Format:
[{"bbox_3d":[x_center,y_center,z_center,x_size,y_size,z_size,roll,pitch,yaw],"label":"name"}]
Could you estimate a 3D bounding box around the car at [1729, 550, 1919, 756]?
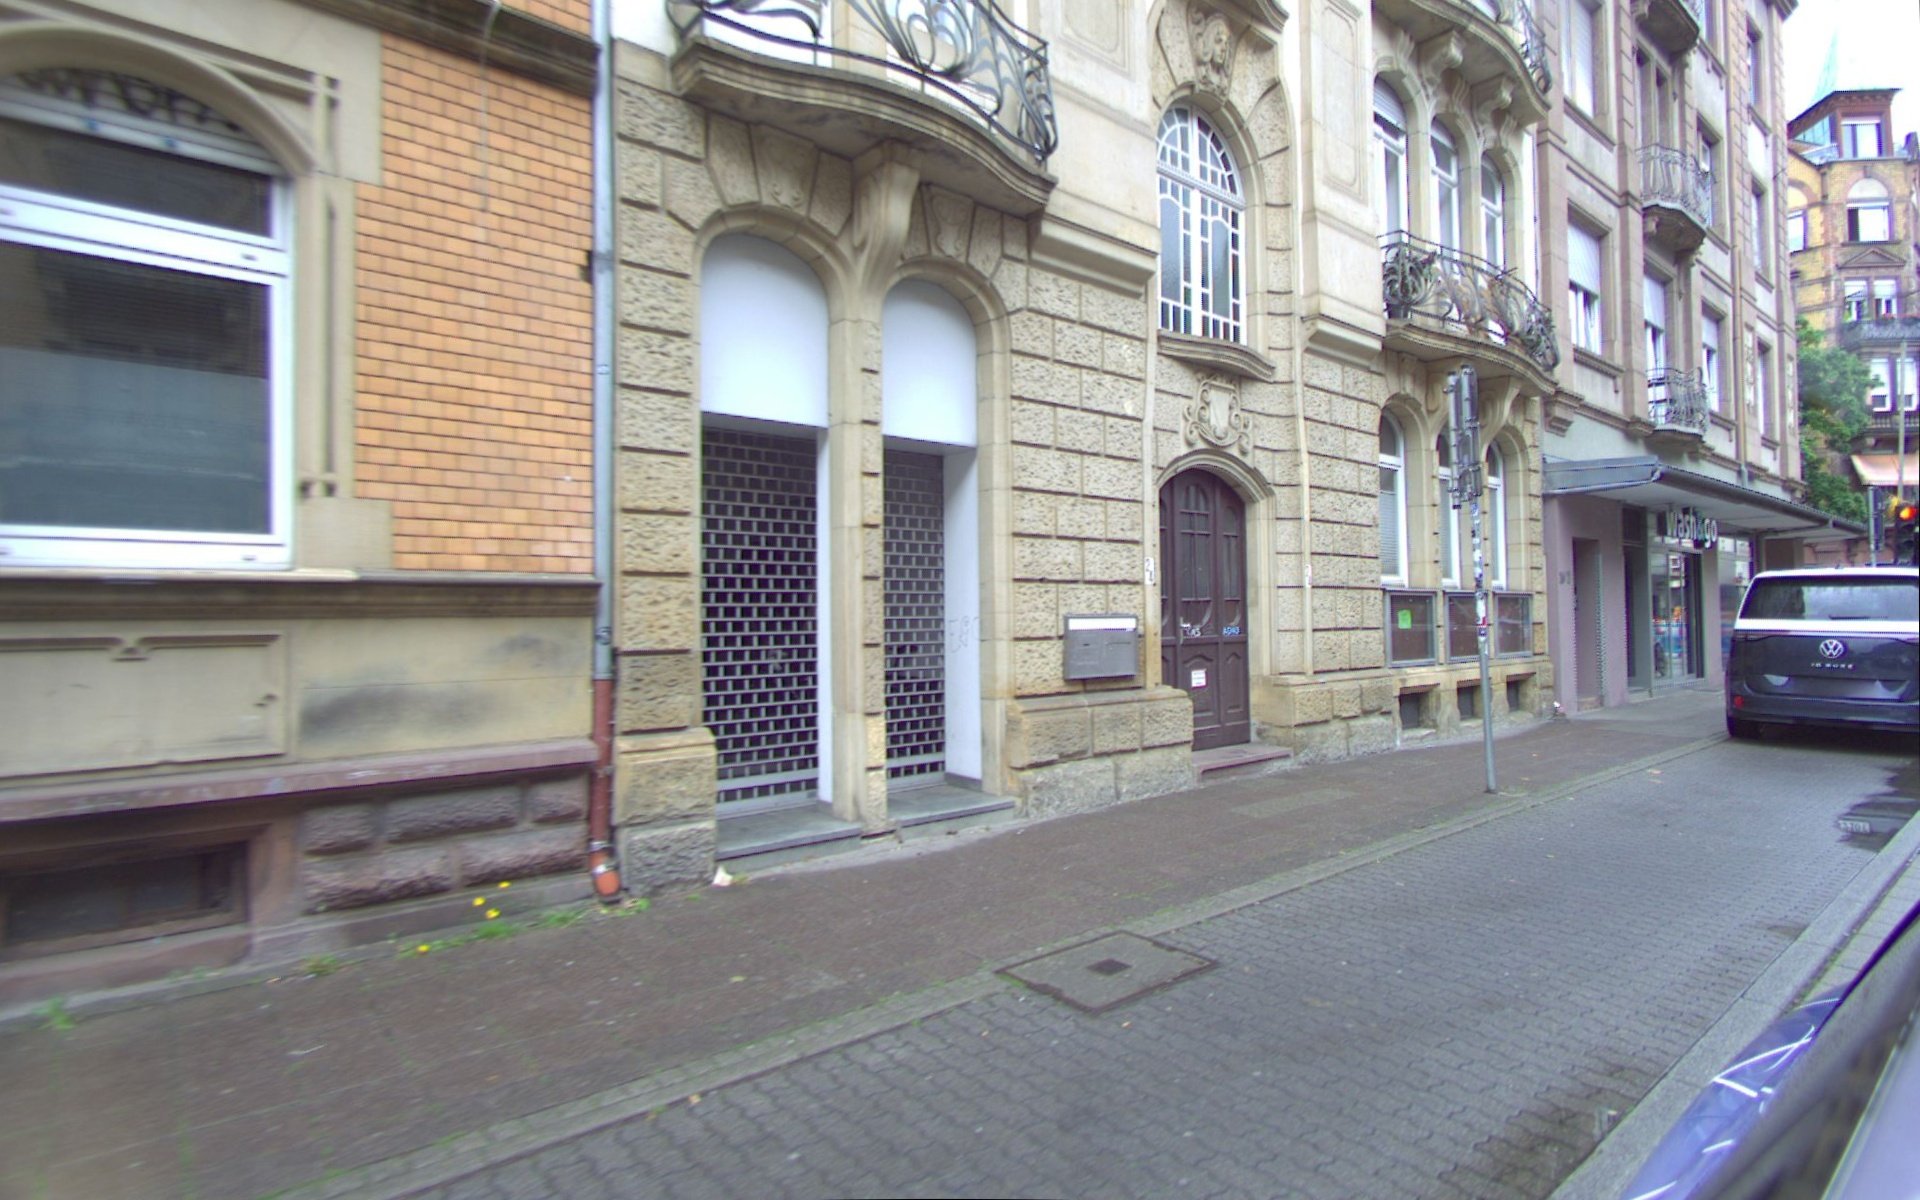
[{"bbox_3d":[10.677,0.486,11.741,5.143,1.963,1.995,0,0,-43],"label":"car"}]
